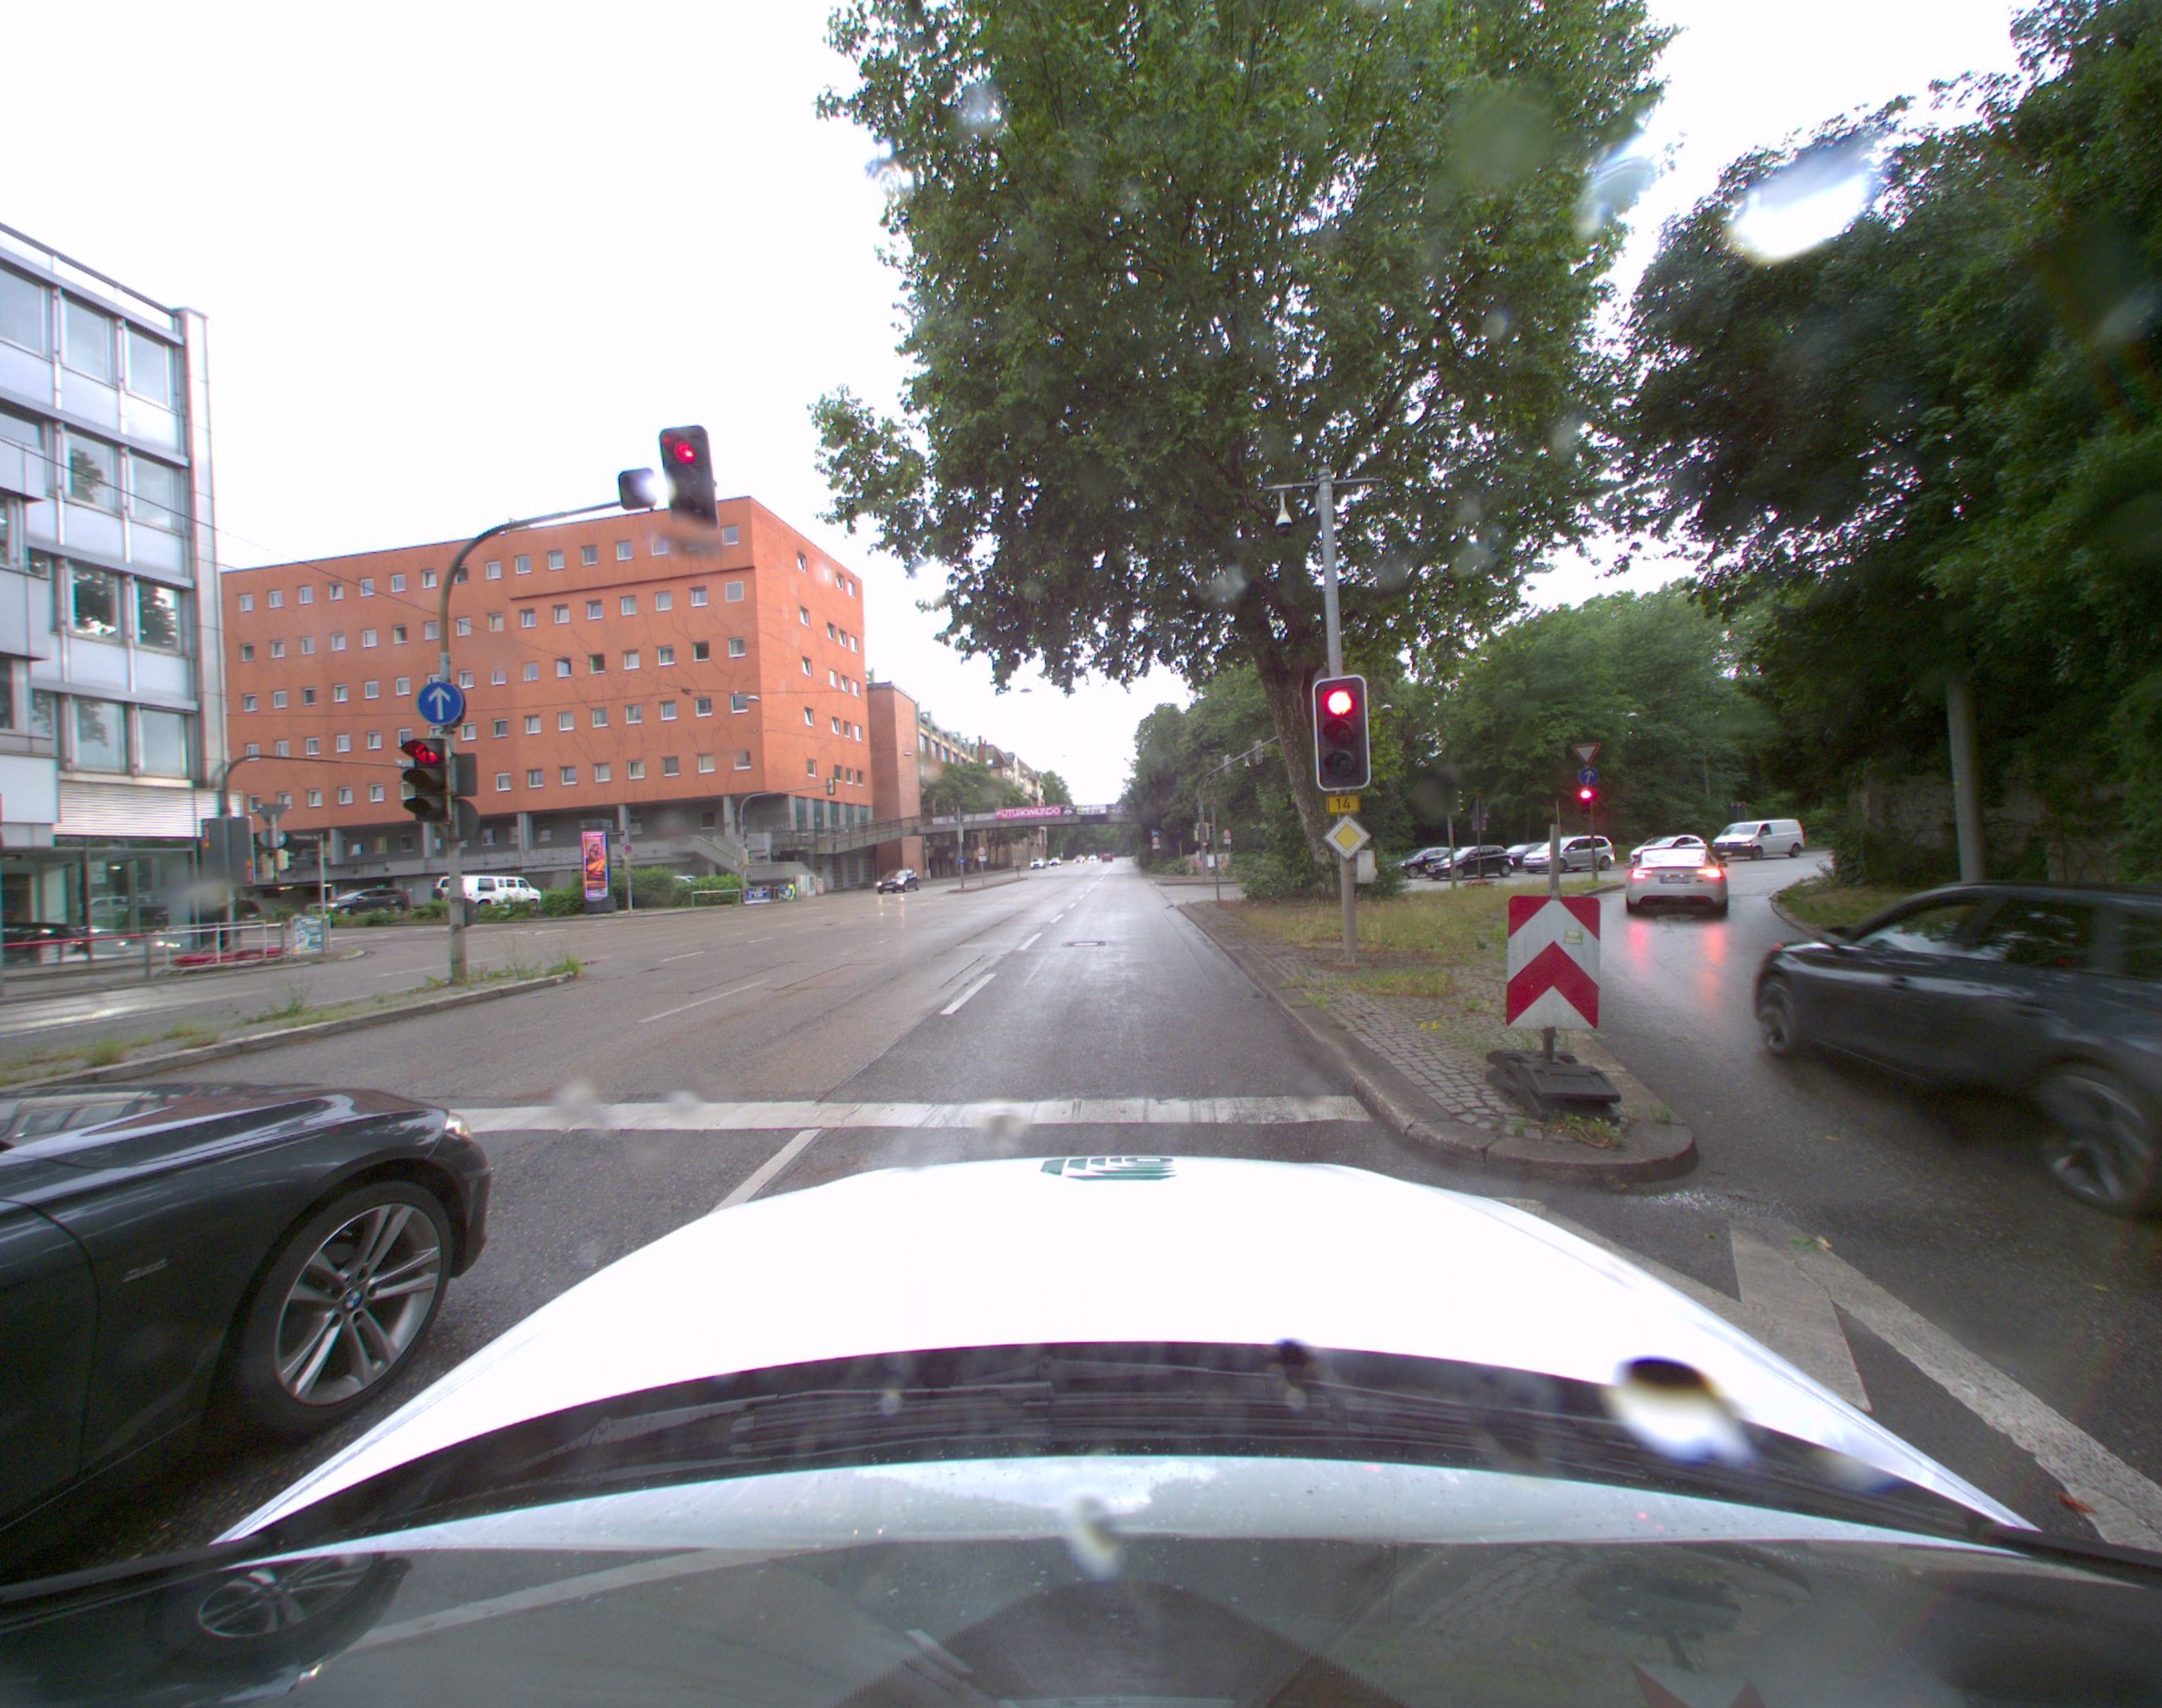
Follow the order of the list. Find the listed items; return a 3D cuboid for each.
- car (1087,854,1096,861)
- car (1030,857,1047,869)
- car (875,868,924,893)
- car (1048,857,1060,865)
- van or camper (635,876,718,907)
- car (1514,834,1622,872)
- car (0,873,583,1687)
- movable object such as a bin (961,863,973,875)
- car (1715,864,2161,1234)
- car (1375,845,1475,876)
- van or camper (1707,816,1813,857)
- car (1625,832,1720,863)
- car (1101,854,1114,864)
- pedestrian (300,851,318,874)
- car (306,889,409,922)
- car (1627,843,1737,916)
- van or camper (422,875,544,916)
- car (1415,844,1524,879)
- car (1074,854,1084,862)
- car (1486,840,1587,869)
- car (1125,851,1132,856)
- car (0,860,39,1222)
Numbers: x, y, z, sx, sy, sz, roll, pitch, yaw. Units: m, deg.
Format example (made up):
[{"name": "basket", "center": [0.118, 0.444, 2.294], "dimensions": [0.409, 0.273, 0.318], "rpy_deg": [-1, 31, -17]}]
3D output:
[{"name": "car", "center": [2.625, 0.844, 196.297], "dimensions": [1.823, 1.393, 4.409], "rpy_deg": [-4, -1, 3]}, {"name": "car", "center": [-6.276, 1.319, 120.943], "dimensions": [1.881, 1.610, 4.461], "rpy_deg": [-3, -1, 4]}, {"name": "car", "center": [-11.283, 1.628, 50.794], "dimensions": [1.677, 1.419, 4.221], "rpy_deg": [-4, -1, 5]}, {"name": "car", "center": [-4.799, 1.270, 146.035], "dimensions": [1.701, 1.464, 4.047], "rpy_deg": [-3, -1, 5]}, {"name": "van or camper", "center": [-24.211, 2.234, 48.834], "dimensions": [3.965, 1.627, 1.918], "rpy_deg": [-3, 0, 8]}, {"name": "car", "center": [22.599, -0.044, 37.832], "dimensions": [4.203, 1.680, 1.898], "rpy_deg": [0, -1, -14]}, {"name": "car", "center": [-2.923, 0.835, 0.895], "dimensions": [1.769, 1.458, 4.480], "rpy_deg": [-3, -1, 3]}, {"name": "movable object such as a bin", "center": [-15.119, 1.940, 107.679], "dimensions": [1.277, 1.518, 1.274], "rpy_deg": [-3, 0, 3]}, {"name": "car", "center": [5.577, 0.817, 4.496], "dimensions": [1.735, 1.403, 4.432], "rpy_deg": [1, 1, 16]}, {"name": "car", "center": [16.803, 0.316, 39.802], "dimensions": [4.205, 1.440, 1.941], "rpy_deg": [0, -1, -14]}, {"name": "van or camper", "center": [34.653, -0.873, 41.566], "dimensions": [4.864, 1.947, 1.895], "rpy_deg": [-1, -1, -19]}, {"name": "car", "center": [28.842, -0.297, 39.726], "dimensions": [3.857, 1.461, 1.650], "rpy_deg": [0, -1, -14]}, {"name": "car", "center": [4.740, 0.827, 145.906], "dimensions": [1.998, 1.643, 4.376], "rpy_deg": [-3, 0, 0]}, {"name": "pedestrian", "center": [-61.498, 0.704, 64.888], "dimensions": [0.757, 1.839, 0.727], "rpy_deg": [-1, -1, 11]}, {"name": "car", "center": [-40.249, 2.821, 45.413], "dimensions": [1.699, 1.612, 4.097], "rpy_deg": [-1, -1, 9]}, {"name": "car", "center": [14.094, 0.495, 19.189], "dimensions": [1.834, 1.448, 4.648], "rpy_deg": [2, 2, 36]}, {"name": "van or camper", "center": [-32.832, 2.225, 44.970], "dimensions": [2.113, 1.977, 5.466], "rpy_deg": [0, -1, 9]}, {"name": "car", "center": [17.159, 0.330, 36.037], "dimensions": [4.192, 1.460, 1.784], "rpy_deg": [0, -1, -14]}, {"name": "car", "center": [-0.463, 0.811, 162.022], "dimensions": [1.675, 1.436, 3.866], "rpy_deg": [-3, -1, 4]}, {"name": "car", "center": [23.067, 0.037, 41.260], "dimensions": [4.438, 1.402, 1.821], "rpy_deg": [0, -1, -14]}, {"name": "car", "center": [13.059, -0.119, 224.413], "dimensions": [1.835, 1.453, 3.778], "rpy_deg": [0, -1, 2]}, {"name": "car", "center": [-6.002, 0.845, 1.684], "dimensions": [1.801, 1.656, 4.449], "rpy_deg": [0, -1, 4]}]
